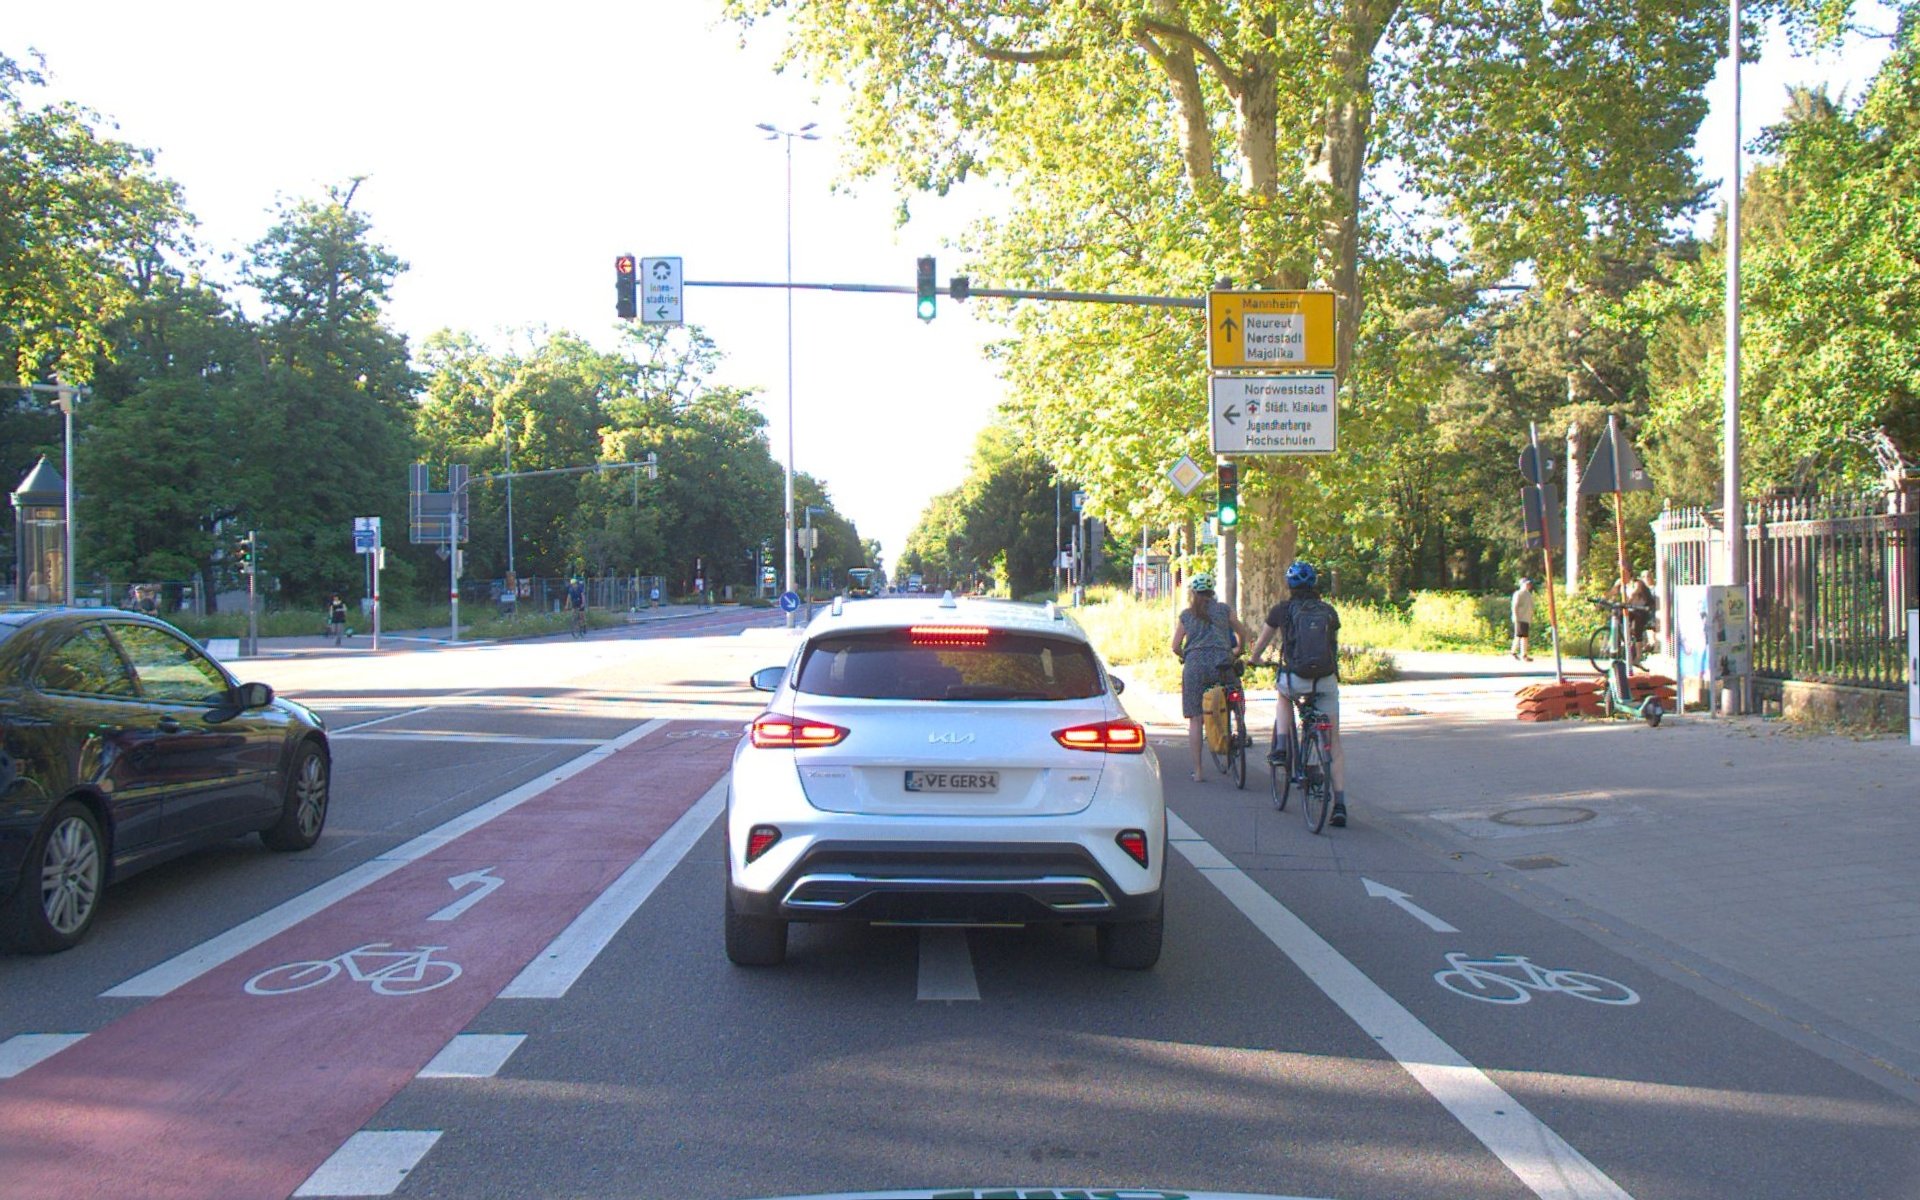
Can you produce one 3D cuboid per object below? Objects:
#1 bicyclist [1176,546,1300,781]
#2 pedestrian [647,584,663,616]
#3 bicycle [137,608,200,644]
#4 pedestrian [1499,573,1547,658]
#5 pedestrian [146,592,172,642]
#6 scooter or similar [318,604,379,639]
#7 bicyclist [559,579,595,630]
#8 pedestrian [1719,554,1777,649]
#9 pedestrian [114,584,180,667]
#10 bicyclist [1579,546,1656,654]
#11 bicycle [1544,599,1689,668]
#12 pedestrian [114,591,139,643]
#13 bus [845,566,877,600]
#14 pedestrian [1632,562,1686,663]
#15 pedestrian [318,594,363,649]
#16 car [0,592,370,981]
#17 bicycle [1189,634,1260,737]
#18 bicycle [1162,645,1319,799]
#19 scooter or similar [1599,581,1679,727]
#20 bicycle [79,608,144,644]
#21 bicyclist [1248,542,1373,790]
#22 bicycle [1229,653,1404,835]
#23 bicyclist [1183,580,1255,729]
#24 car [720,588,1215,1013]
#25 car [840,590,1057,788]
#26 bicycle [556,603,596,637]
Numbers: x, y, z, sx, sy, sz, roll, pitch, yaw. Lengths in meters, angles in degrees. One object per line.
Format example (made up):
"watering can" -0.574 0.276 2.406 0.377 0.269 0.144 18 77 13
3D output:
"bicyclist" 2.256 0.496 13.543 0.738 1.827 1.164 1 0 -2
"pedestrian" -17.721 -0.006 96.050 0.769 1.817 0.751 0 0 0
"bicycle" -25.603 0.840 53.540 1.826 1.168 0.290 0 0 -8
"pedestrian" 10.357 0.277 30.404 0.801 1.544 0.916 0 0 22
"pedestrian" -25.890 0.549 53.462 0.617 1.608 0.444 0 0 -11
"scooter or similar" -20.738 0.715 56.084 0.697 1.144 1.916 0 0 32
"bicyclist" -12.541 0.131 54.208 0.857 1.636 1.188 -1 0 1
"pedestrian" 14.383 0.023 30.204 0.808 1.711 0.694 0 0 13
"pedestrian" -20.258 0.626 41.235 0.974 2.049 1.191 0 0 4
"bicyclist" 10.304 0.000 25.939 0.832 1.641 0.733 -2 0 -13
"bicycle" 10.287 0.511 25.936 2.057 0.993 0.748 -2 1 -14
"pedestrian" -26.977 0.553 53.550 0.617 1.671 0.444 0 0 -11
"bus" -11.766 -2.017 195.681 3.668 3.737 13.230 -1 1 -4
"pedestrian" 12.186 0.220 28.845 0.675 1.729 0.644 0 0 -1
"pedestrian" -19.112 0.654 51.041 1.067 1.631 0.999 -1 0 -7
"car" -4.444 0.704 8.005 1.670 1.429 4.264 -1 1 -1
"bicycle" 2.777 0.878 17.439 0.393 0.973 1.550 -3 0 -2
"bicycle" 2.244 0.944 13.602 0.742 1.031 2.568 1 1 -2
"scooter or similar" 6.517 0.491 15.902 0.223 1.350 1.171 -1 0 -2
"bicycle" -27.644 0.838 53.890 1.826 1.168 0.442 0 0 -8
"bicyclist" 2.373 0.432 11.257 0.652 1.630 0.720 1 0 -2
"bicycle" 2.368 0.922 11.244 0.655 1.027 2.080 1 1 -2
"bicyclist" 2.728 0.565 17.462 0.543 1.504 0.716 -3 0 -2
"car" -0.041 0.705 7.930 1.785 1.506 3.934 0 1 -2
"car" -0.160 0.692 14.863 1.694 1.509 3.515 -1 1 -3
"bicycle" -12.532 0.641 54.096 0.650 1.006 2.504 -1 1 1
